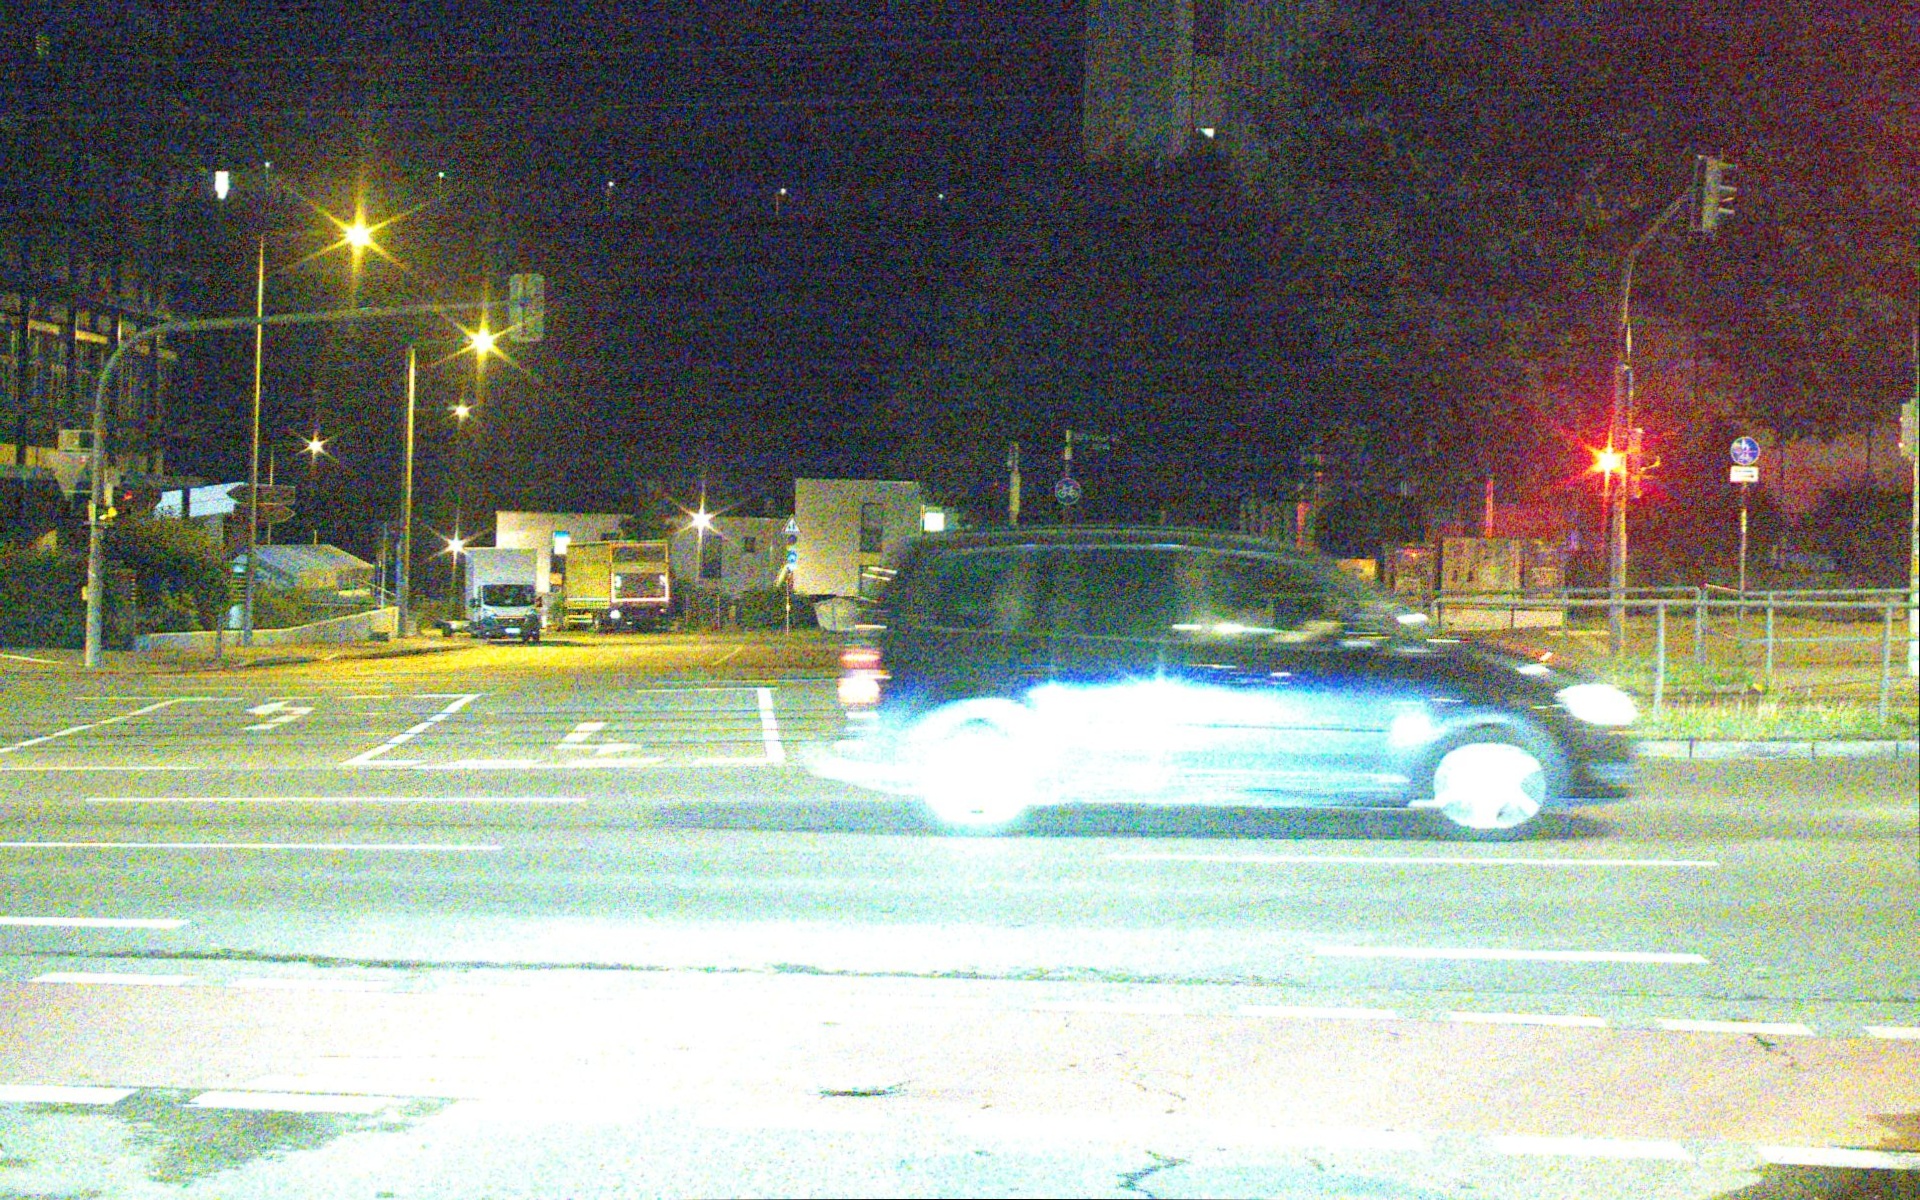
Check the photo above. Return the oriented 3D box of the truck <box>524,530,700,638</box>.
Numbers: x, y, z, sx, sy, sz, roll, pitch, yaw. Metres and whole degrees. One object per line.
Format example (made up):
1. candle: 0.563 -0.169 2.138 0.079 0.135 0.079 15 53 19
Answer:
1. truck: -15.454 -0.757 151.229 4.821 4.531 12.669 1 1 -19

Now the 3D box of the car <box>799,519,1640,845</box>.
1. car: 1.372 0.409 18.762 4.343 1.645 1.810 1 1 3

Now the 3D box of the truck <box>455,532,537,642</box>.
1. truck: -16.097 -0.467 119.057 2.582 3.694 5.739 1 1 -9
